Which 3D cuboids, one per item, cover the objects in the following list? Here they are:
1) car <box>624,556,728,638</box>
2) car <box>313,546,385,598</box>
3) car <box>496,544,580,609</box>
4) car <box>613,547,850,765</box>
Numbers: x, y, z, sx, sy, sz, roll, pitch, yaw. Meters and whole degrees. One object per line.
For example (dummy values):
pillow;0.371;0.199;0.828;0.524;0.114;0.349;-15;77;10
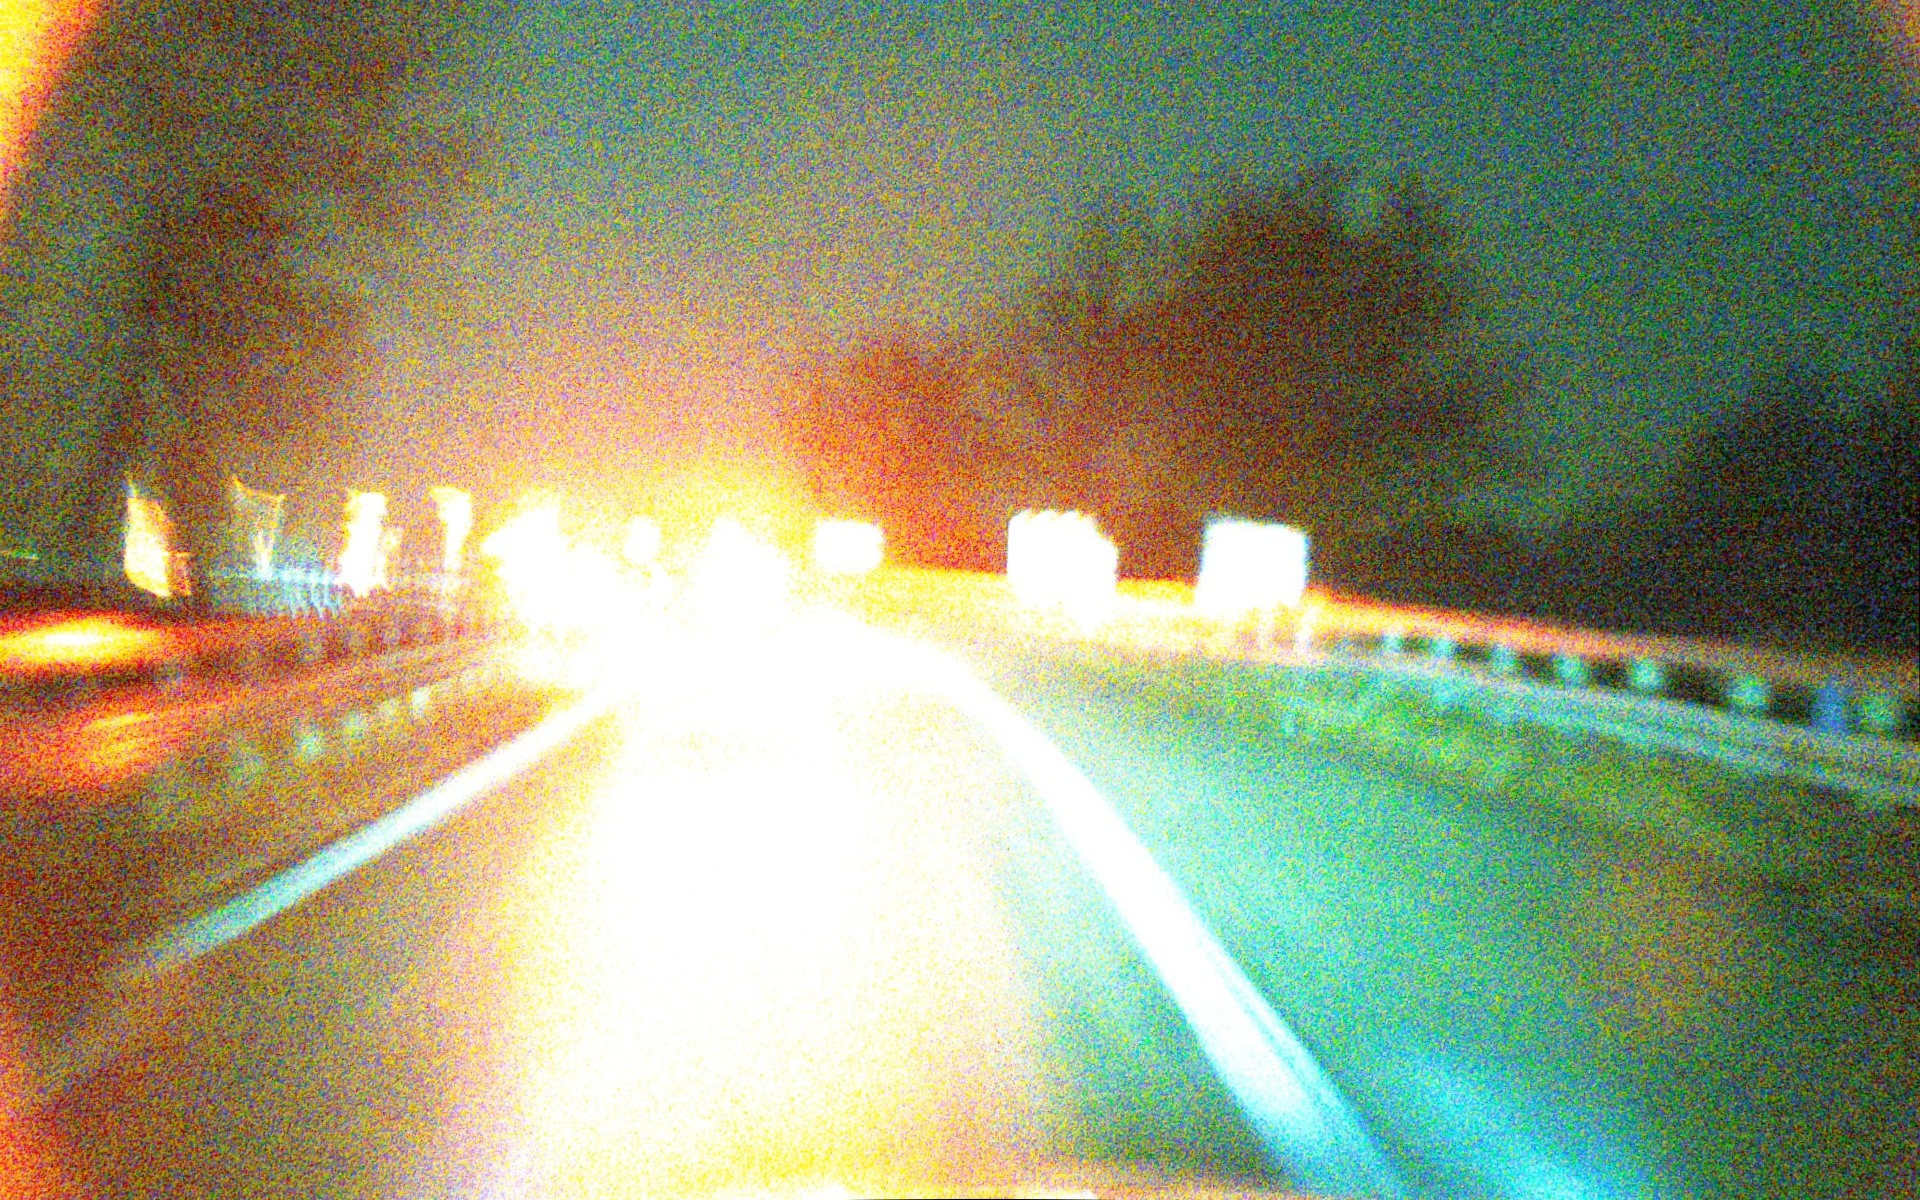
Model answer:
car;-6.517;-0.088;37.673;1.865;1.750;4.027;-1;0;-17
car;-24.740;-1.156;66.938;1.878;2.032;3.998;0;2;-34
car;-14.078;-0.813;55.032;1.873;2.076;4.010;0;2;-27
car;-2.061;0.402;14.948;1.826;1.676;4.061;0;1;-8
